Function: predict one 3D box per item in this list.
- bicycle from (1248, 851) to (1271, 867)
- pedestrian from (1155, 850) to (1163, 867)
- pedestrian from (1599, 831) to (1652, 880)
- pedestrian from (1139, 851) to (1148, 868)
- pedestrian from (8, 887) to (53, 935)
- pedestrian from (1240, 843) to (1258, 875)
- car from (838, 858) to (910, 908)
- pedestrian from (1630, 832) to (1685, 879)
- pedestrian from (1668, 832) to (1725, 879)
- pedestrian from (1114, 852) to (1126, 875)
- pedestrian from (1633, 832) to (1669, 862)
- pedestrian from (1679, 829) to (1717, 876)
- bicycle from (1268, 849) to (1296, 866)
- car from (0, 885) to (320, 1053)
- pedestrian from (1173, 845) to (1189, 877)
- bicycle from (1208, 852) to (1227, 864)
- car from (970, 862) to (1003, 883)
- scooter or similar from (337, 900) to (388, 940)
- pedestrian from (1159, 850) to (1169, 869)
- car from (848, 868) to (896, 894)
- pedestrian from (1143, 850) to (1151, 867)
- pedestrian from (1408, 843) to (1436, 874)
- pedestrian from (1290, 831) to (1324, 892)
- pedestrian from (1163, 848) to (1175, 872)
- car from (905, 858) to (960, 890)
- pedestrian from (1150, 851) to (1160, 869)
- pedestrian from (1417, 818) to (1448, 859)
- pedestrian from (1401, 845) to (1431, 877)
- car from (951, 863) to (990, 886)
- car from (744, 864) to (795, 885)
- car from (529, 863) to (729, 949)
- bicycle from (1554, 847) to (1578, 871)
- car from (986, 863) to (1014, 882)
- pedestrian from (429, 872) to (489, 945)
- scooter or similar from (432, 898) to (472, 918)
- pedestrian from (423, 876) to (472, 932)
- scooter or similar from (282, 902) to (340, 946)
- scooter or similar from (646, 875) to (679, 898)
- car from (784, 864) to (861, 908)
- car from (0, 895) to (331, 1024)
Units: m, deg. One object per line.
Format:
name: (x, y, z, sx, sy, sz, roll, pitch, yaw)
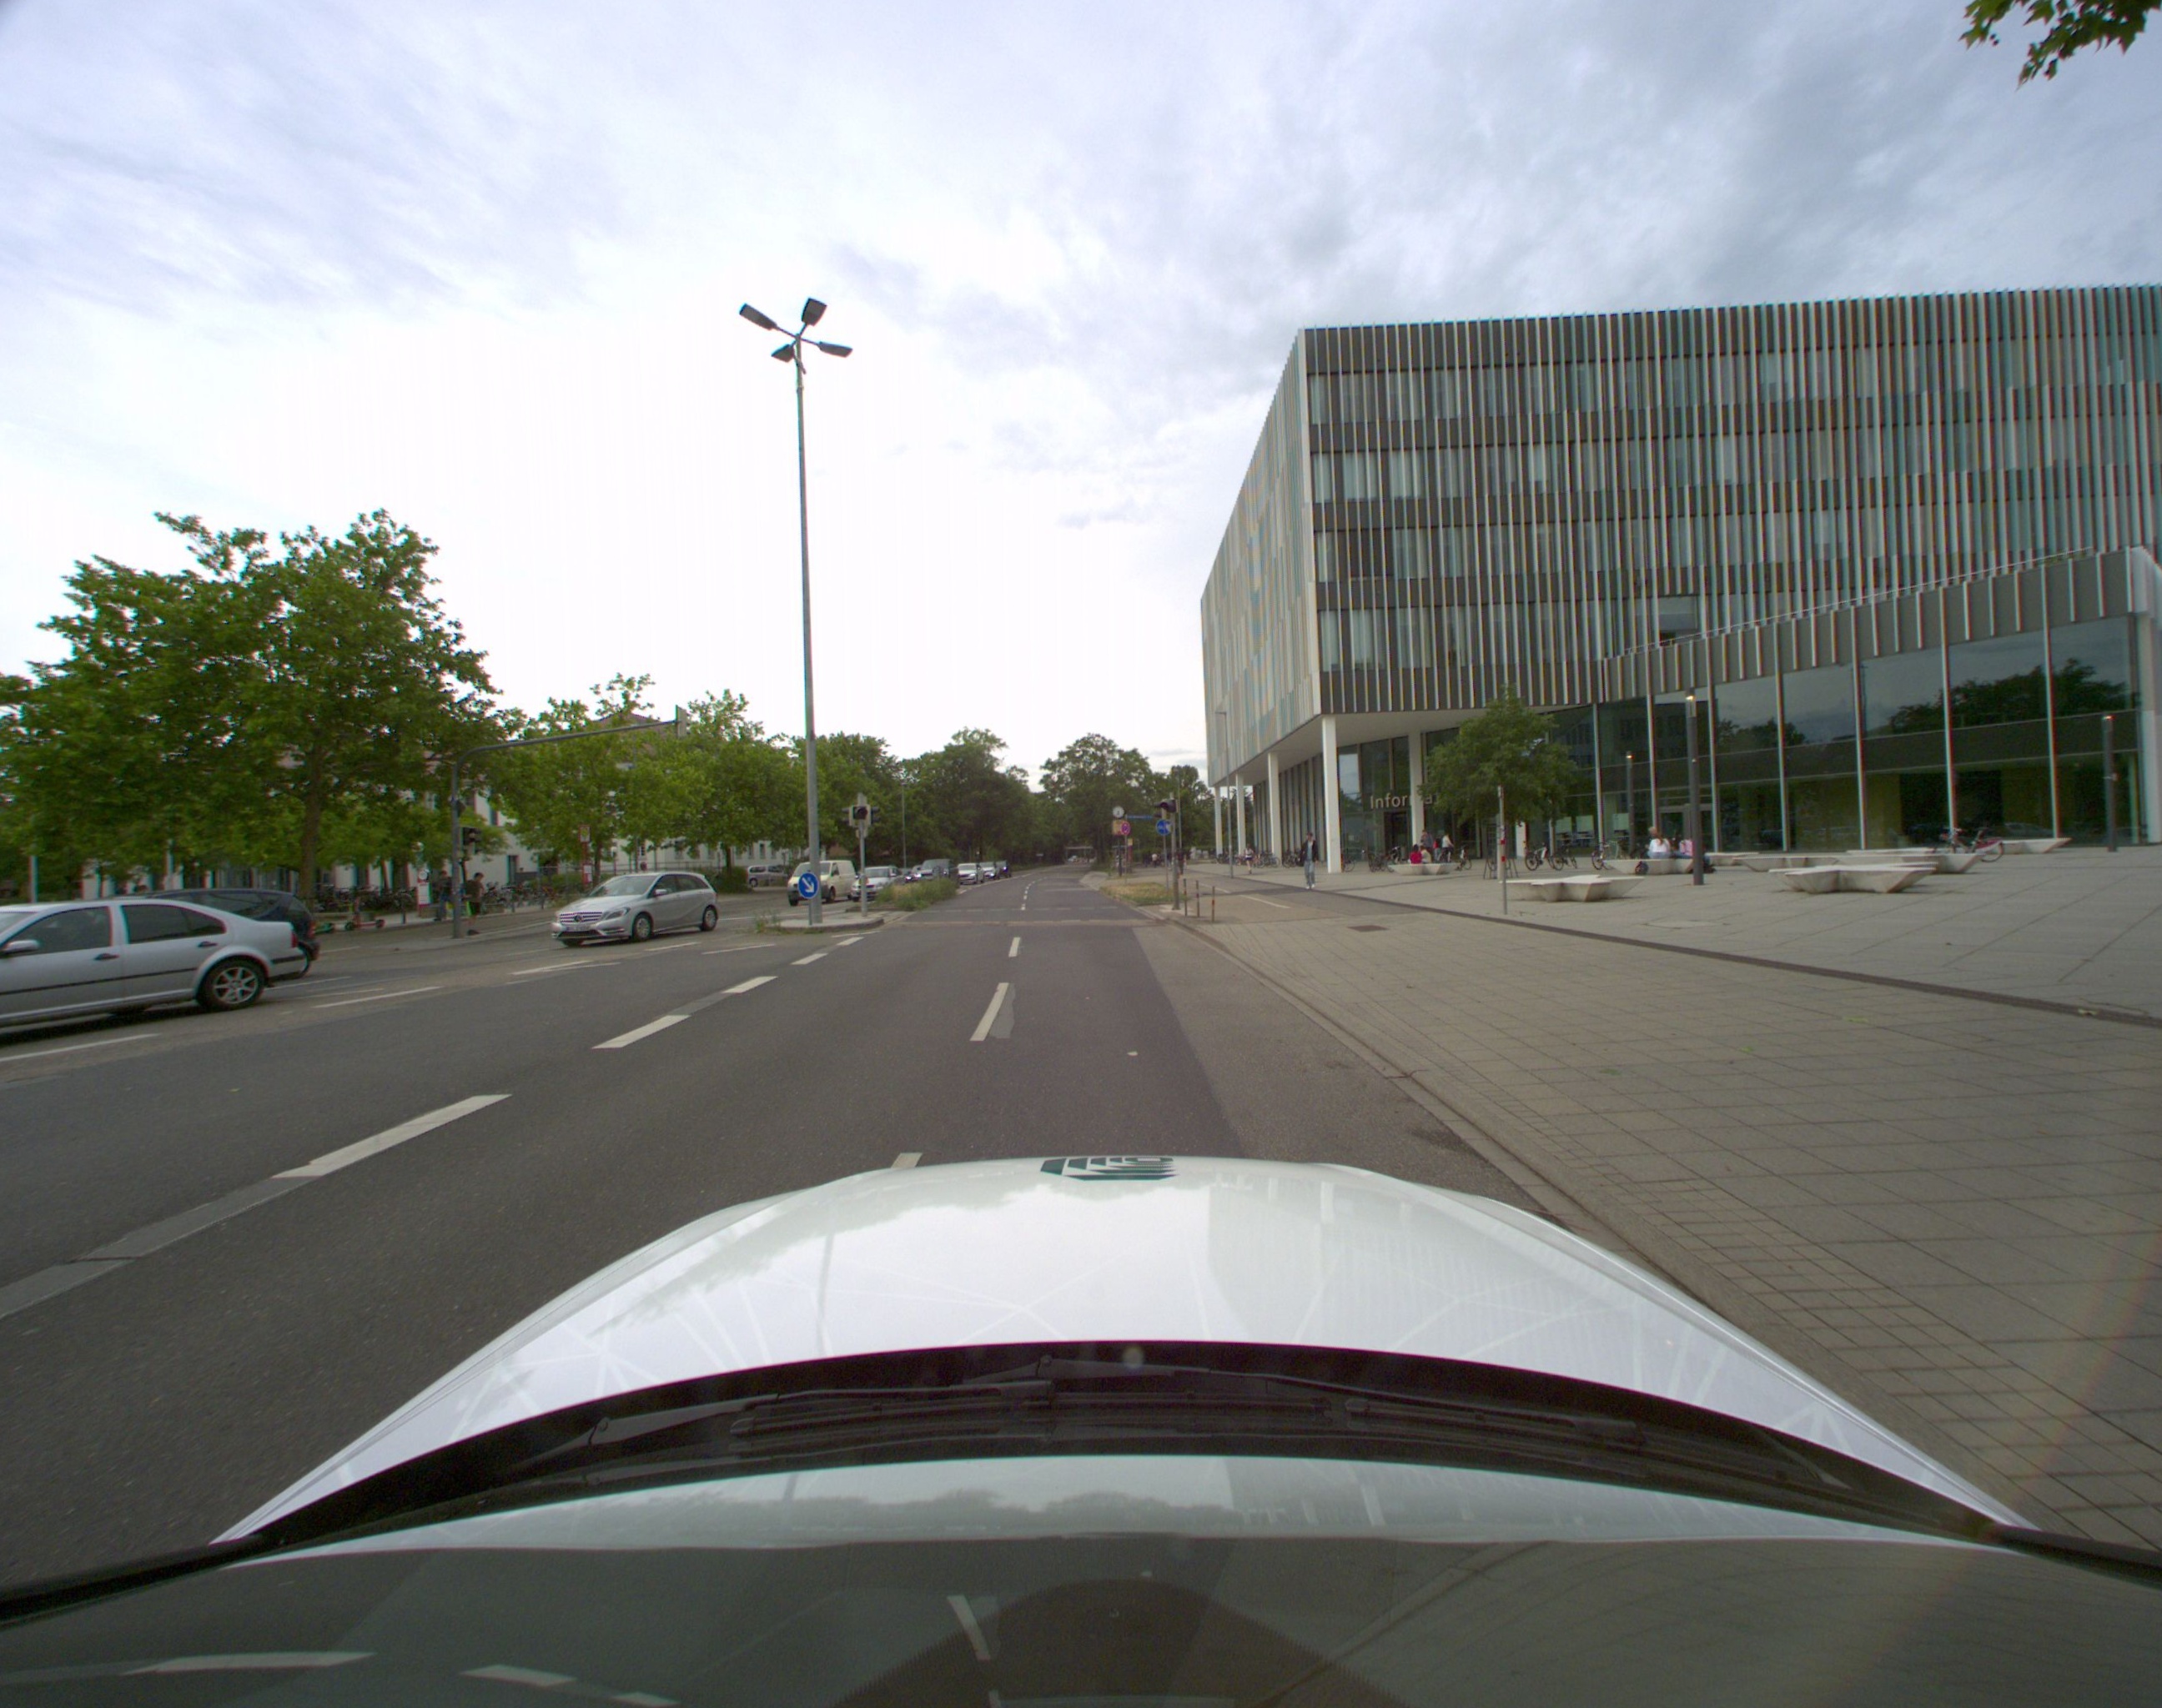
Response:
bicycle: (13.878, 0.412, 63.359, 1.634, 1.091, 0.574, -5, -1, 10)
pedestrian: (9.490, 0.522, 99.201, 0.821, 2.013, 0.720, -3, -1, 1)
pedestrian: (15.565, 0.054, 23.287, 0.908, 1.367, 0.876, -1, 0, -8)
pedestrian: (7.620, 0.630, 98.905, 0.923, 2.013, 1.038, -3, -1, -3)
pedestrian: (-45.515, 2.464, 35.290, 0.889, 2.013, 0.797, -3, -1, 9)
pedestrian: (9.941, 0.274, 48.145, 0.839, 1.836, 0.895, -3, -1, 2)
car: (-9.187, 1.256, 36.533, 1.986, 2.013, 4.001, -3, -1, 2)
pedestrian: (15.821, 0.048, 22.385, 0.904, 1.257, 0.880, -1, 0, 4)
pedestrian: (16.979, 0.036, 22.480, 0.904, 1.257, 0.880, -1, 0, 4)
pedestrian: (3.495, 0.844, 73.848, 0.909, 2.013, 0.854, -4, 1, 0)
pedestrian: (16.506, -0.185, 23.596, 0.629, 0.823, 0.737, -3, -1, 17)
pedestrian: (17.224, -0.044, 22.736, 0.641, 1.278, 0.648, -1, -1, 15)
bicycle: (15.618, 0.272, 63.404, 1.962, 1.144, 0.652, -5, 0, 43)
car: (-11.454, 1.224, 8.850, 1.982, 1.529, 4.284, -3, 0, 8)
pedestrian: (6.532, 0.432, 53.149, 0.839, 2.013, 0.895, -4, -1, 3)
bicycle: (14.230, 0.444, 84.780, 1.788, 1.082, 0.626, -5, 0, 0)
car: (-7.709, 1.480, 66.530, 1.986, 1.547, 4.181, -4, -1, 2)
scooter or similar: (-22.302, 2.029, 25.305, 0.359, 1.140, 1.320, -3, -1, 2)
pedestrian: (9.079, 0.615, 89.199, 0.923, 2.013, 1.038, -3, -1, -3)
car: (-14.267, 1.815, 55.880, 1.851, 1.607, 4.597, -1, 0, 3)
pedestrian: (8.065, 0.595, 99.035, 0.822, 2.013, 0.719, -3, -1, -3)
pedestrian: (13.676, 0.195, 32.683, 0.885, 1.193, 0.849, -3, -1, 15)
pedestrian: (7.683, 0.267, 27.732, 0.839, 2.013, 0.895, -3, -1, 3)
pedestrian: (7.564, 0.529, 69.882, 0.840, 2.013, 0.894, -3, -1, 0)
car: (-8.612, 1.125, 47.602, 1.985, 1.687, 4.952, -1, 0, 4)
pedestrian: (8.116, 0.658, 89.375, 0.923, 2.013, 1.038, -3, -1, -3)
pedestrian: (18.007, -0.781, 41.763, 1.175, 2.062, 1.137, -1, -1, 6)
pedestrian: (13.212, 0.275, 32.094, 0.834, 1.206, 0.900, -3, -1, 36)
car: (-7.770, 1.423, 57.546, 1.896, 1.465, 4.913, -1, 0, 2)
car: (-25.925, 1.700, 67.873, 3.575, 1.602, 1.651, -1, 0, -1)
car: (-10.305, 1.109, 19.011, 1.948, 1.584, 4.261, -4, 0, 4)
bicycle: (19.313, 0.191, 32.421, 1.481, 0.899, 0.389, -2, -1, -43)
car: (-7.441, 1.656, 75.192, 1.896, 1.593, 4.518, -3, -1, 2)
pedestrian: (-18.005, 1.547, 23.611, 0.891, 2.013, 1.009, -3, -1, 0)
scooter or similar: (-23.635, 2.018, 30.628, 0.405, 0.693, 1.291, -1, 0, 5)
pedestrian: (-21.881, 1.713, 28.148, 0.893, 1.803, 0.935, -3, -1, -2)
scooter or similar: (-22.384, 2.023, 23.684, 0.359, 1.140, 1.320, -3, -1, 2)
scooter or similar: (-23.751, 1.847, 46.230, 1.569, 1.244, 0.566, -3, -1, 1)
car: (-11.644, 1.388, 37.016, 1.764, 1.848, 4.493, -1, 0, 4)
car: (-14.103, 1.475, 12.316, 1.843, 1.463, 3.703, -3, 0, 6)
